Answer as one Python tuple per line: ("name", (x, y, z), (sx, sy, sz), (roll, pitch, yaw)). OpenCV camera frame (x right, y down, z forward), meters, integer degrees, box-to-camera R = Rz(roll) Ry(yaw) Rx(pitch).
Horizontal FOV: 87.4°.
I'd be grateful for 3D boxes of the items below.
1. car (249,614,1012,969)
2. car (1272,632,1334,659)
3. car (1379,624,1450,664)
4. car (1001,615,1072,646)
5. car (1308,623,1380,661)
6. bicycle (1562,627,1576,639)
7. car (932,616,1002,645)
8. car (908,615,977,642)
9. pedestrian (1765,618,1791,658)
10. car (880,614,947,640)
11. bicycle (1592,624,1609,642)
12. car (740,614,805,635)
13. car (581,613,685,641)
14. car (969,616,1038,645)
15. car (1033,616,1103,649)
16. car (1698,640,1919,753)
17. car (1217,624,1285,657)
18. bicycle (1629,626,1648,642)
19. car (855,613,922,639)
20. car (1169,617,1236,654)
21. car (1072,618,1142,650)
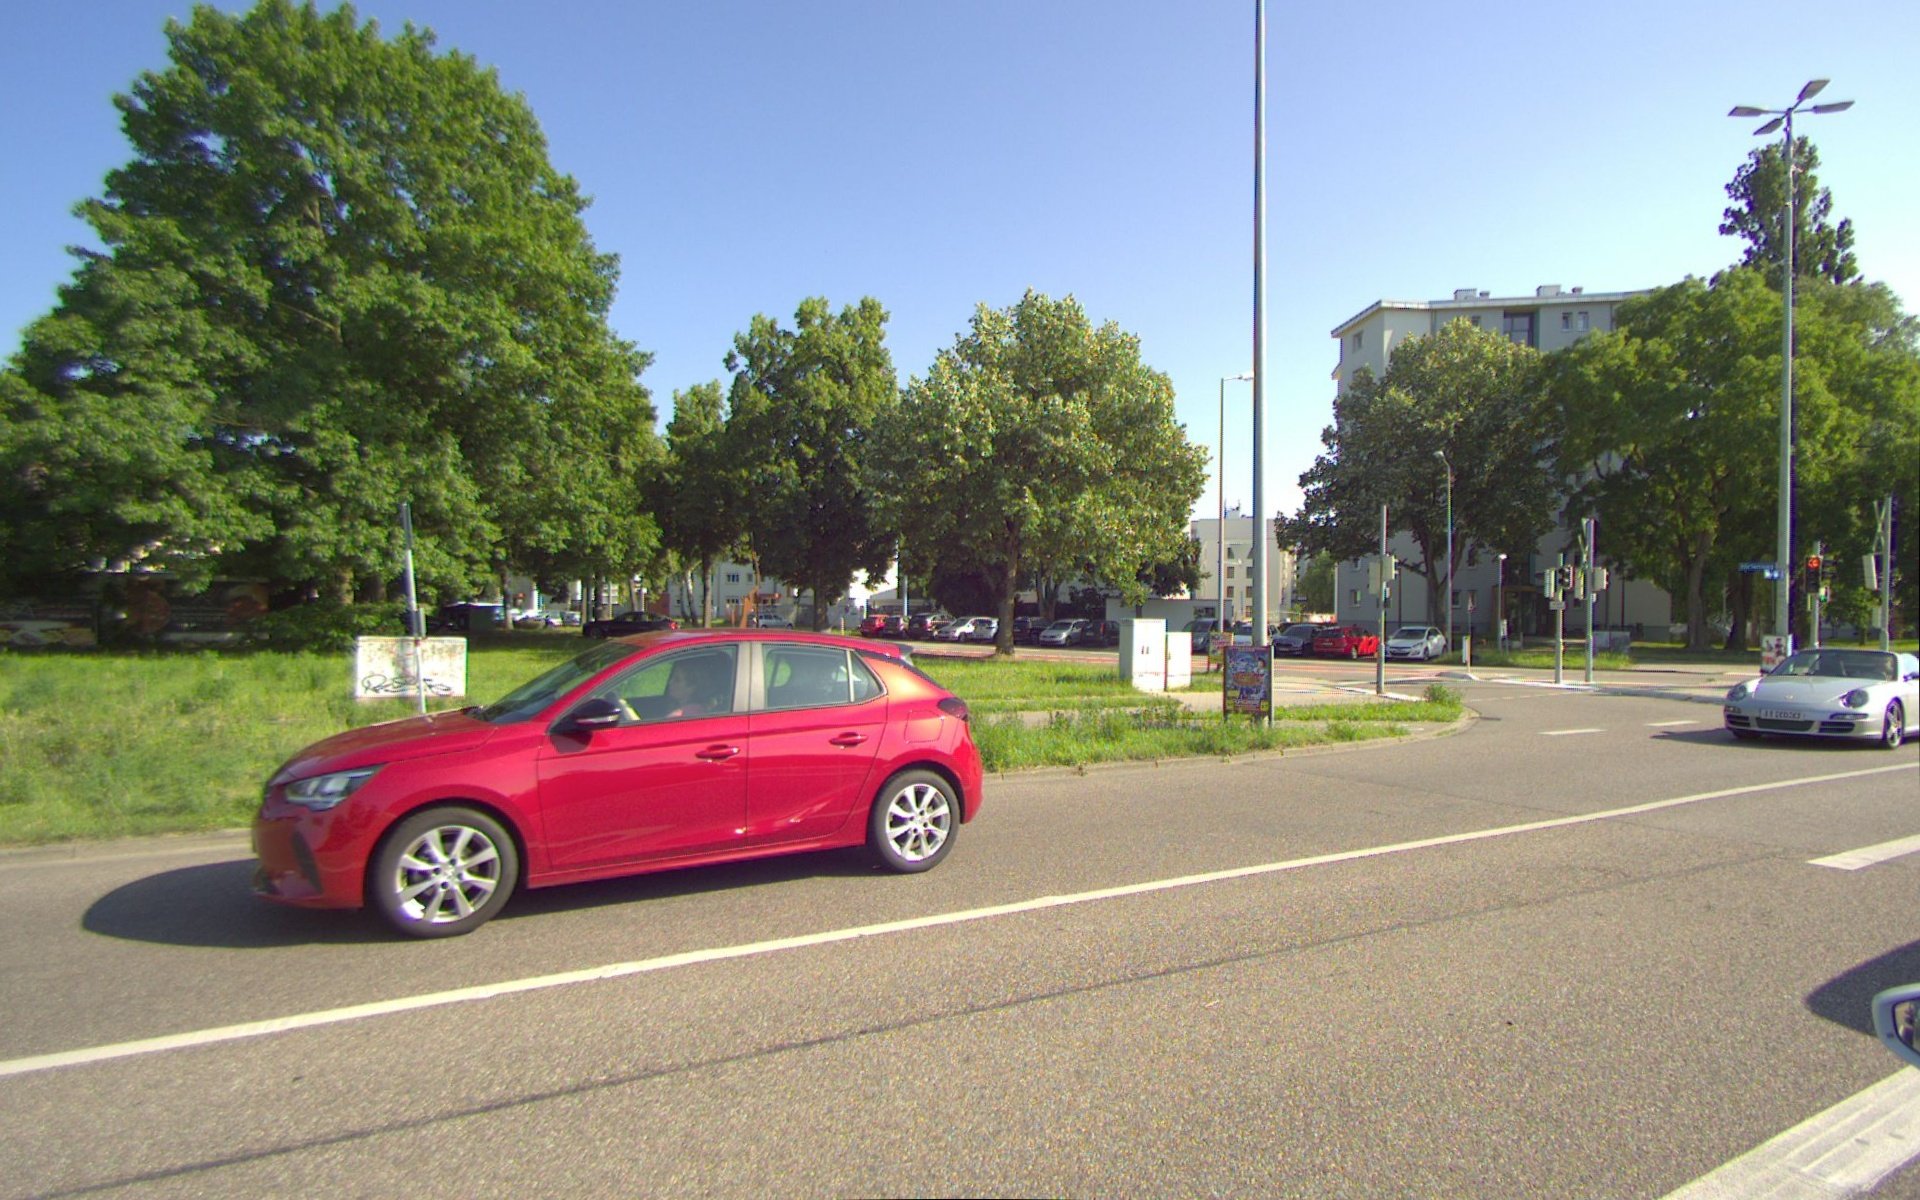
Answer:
("car", (-1.781, 0.856, 6.016), (3.869, 1.497, 1.771), (1, -1, -31))
("car", (16.632, 2.202, 48.678), (1.445, 1.209, 3.765), (0, -1, 43))
("car", (20.561, 1.958, 45.398), (1.760, 1.459, 3.977), (0, 2, 43))
("car", (4.603, 1.794, 59.884), (1.758, 1.497, 4.791), (0, 3, 39))
("car", (18.142, 1.938, 47.360), (1.761, 1.435, 3.975), (0, 3, 44))
("bicycle", (39.359, 2.100, 64.941), (0.574, 0.718, 2.236), (1, 0, 26))
("car", (0.505, 1.861, 62.702), (1.758, 1.497, 4.791), (0, 2, 39))
("car", (-1.068, 1.811, 64.626), (1.758, 1.497, 4.791), (0, 2, 39))
("pedestrian", (35.629, 1.642, 43.751), (0.693, 1.736, 0.623), (1, 0, -18))
("car", (-3.048, 1.753, 66.878), (1.758, 1.497, 4.791), (0, 2, 39))
("bicycle", (40.828, 2.092, 64.075), (0.601, 1.080, 1.916), (1, -2, 24))
("car", (-14.205, 1.857, 76.317), (1.760, 1.497, 4.786), (0, -1, 43))
("car", (-16.204, 1.328, 49.945), (4.682, 1.338, 1.524), (1, -1, -8))
("car", (2.702, 1.816, 61.460), (1.758, 1.497, 4.755), (0, 2, 39))
("car", (6.262, 1.834, 57.808), (1.758, 1.497, 4.692), (0, 3, 39))
("car", (12.396, 1.253, 14.103), (4.236, 1.327, 1.771), (1, -1, -30))
("car", (14.696, 2.017, 50.565), (1.759, 1.541, 3.979), (0, -1, 41))
("bicycle", (42.671, 2.130, 63.168), (0.658, 0.932, 2.404), (1, -1, 26))
("car", (-4.812, 1.746, 68.346), (1.758, 1.497, 4.791), (0, 2, 39))
("car", (12.674, 1.845, 52.402), (1.759, 1.835, 3.979), (0, -1, 41))
("car", (8.419, 1.890, 57.155), (1.758, 1.497, 4.791), (0, 2, 39))
